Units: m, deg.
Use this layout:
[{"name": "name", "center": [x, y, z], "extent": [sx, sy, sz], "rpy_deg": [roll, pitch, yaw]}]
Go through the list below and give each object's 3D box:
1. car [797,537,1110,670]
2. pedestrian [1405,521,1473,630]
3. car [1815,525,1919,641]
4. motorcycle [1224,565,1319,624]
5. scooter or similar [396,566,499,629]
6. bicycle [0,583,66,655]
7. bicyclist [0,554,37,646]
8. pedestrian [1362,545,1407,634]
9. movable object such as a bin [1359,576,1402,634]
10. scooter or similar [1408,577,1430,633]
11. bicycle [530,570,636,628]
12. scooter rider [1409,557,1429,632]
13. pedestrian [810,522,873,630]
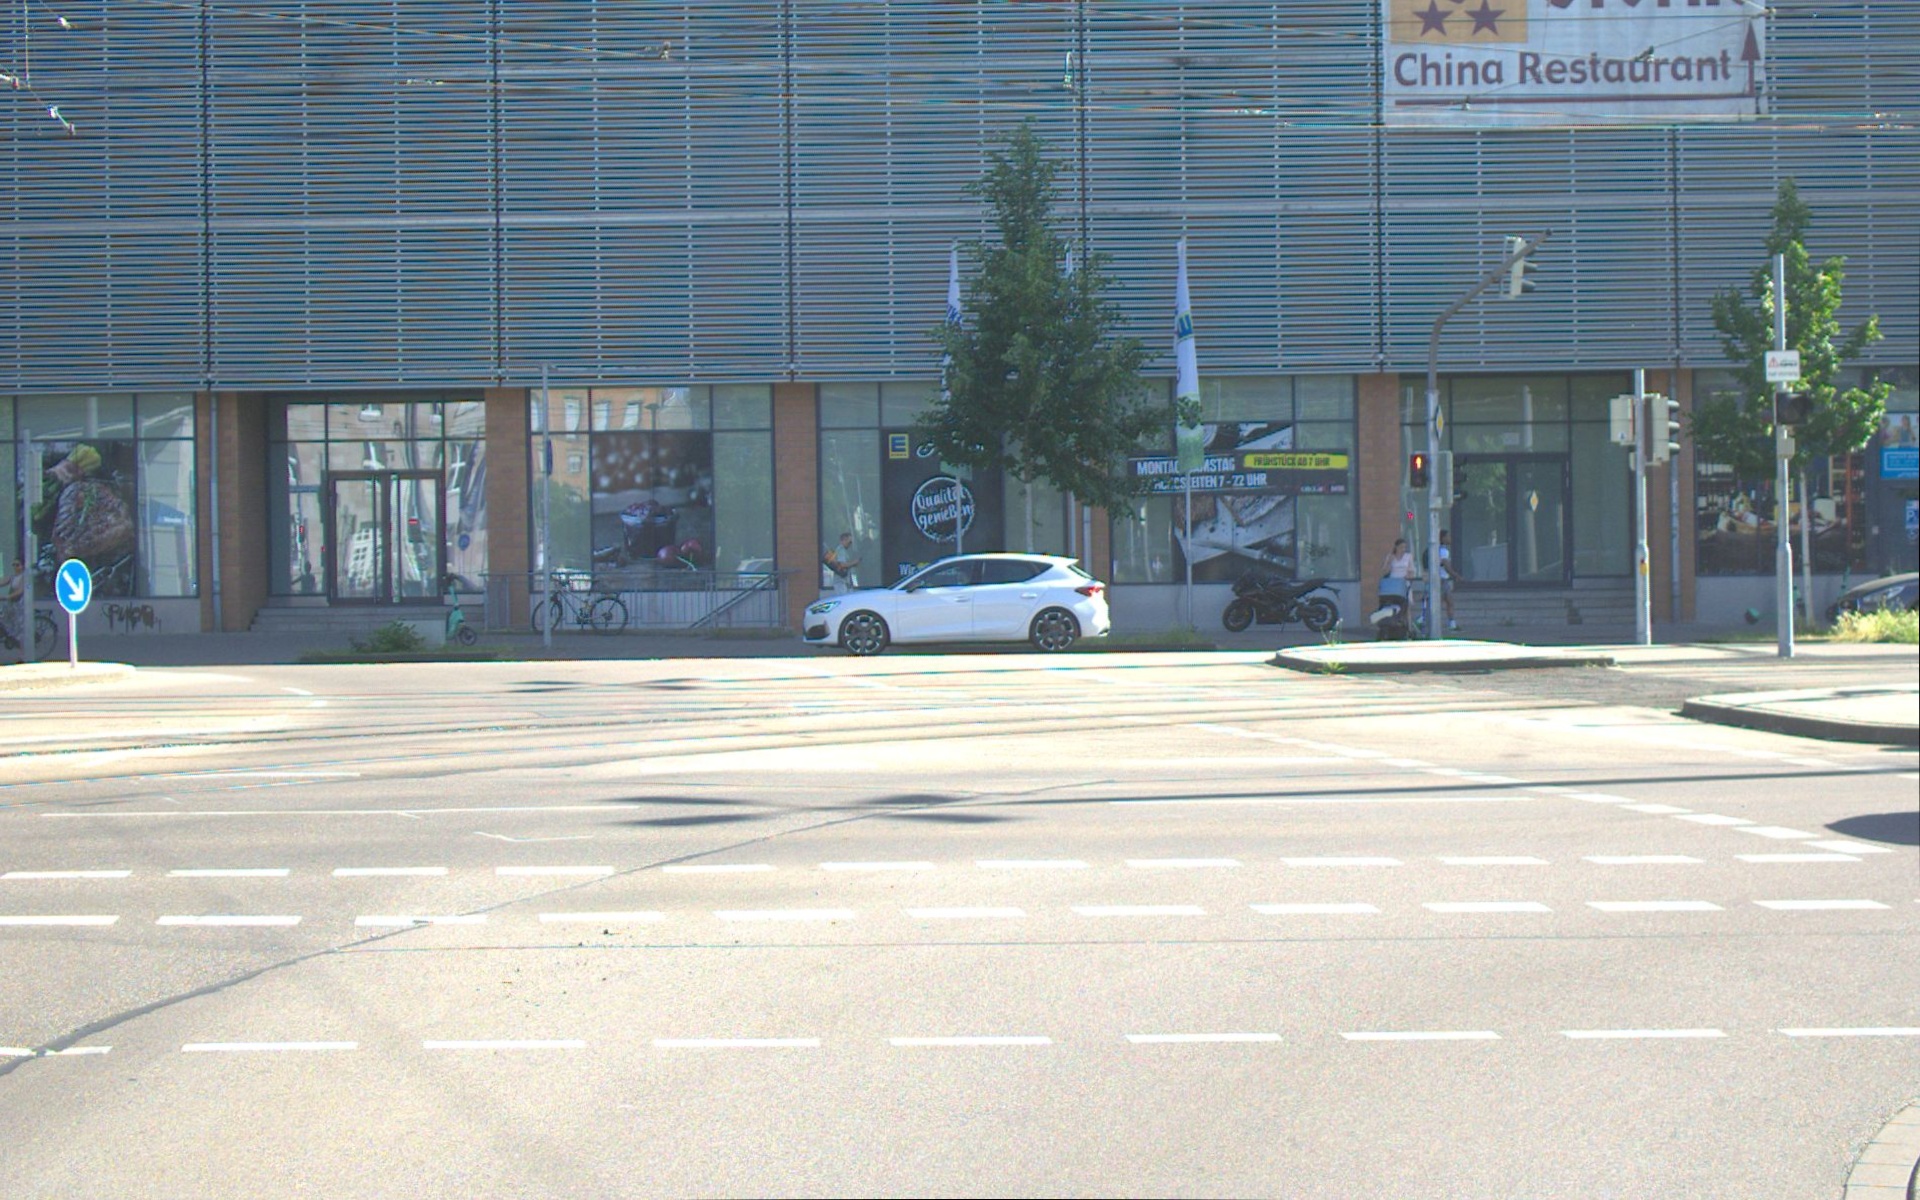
[{"name": "car", "center": [-0.105, 0.046, 49.010], "extent": [4.289, 1.639, 1.841], "rpy_deg": [3, 0, -1]}, {"name": "pedestrian", "center": [8.252, -0.435, 59.277], "extent": [1.012, 1.822, 1.035], "rpy_deg": [-2, 1, 3]}, {"name": "car", "center": [13.755, -0.142, 45.851], "extent": [4.146, 1.464, 1.841], "rpy_deg": [3, 0, -1]}, {"name": "motorcycle", "center": [5.495, -0.102, 60.640], "extent": [1.640, 1.001, 0.446], "rpy_deg": [1, 1, 6]}, {"name": "scooter or similar", "center": [-9.078, -0.048, 60.929], "extent": [1.792, 1.062, 0.613], "rpy_deg": [0, 2, -8]}, {"name": "bicycle", "center": [-15.245, 0.308, 54.864], "extent": [0.568, 1.082, 1.859], "rpy_deg": [1, 3, 43]}, {"name": "bicyclist", "center": [-15.278, -0.001, 54.784], "extent": [0.675, 1.422, 0.847], "rpy_deg": [1, 3, 43]}, {"name": "pedestrian", "center": [6.832, -0.177, 55.273], "extent": [0.655, 1.409, 0.849], "rpy_deg": [1, 0, 10]}, {"name": "movable object such as a bin", "center": [6.713, 0.079, 54.812], "extent": [0.613, 0.901, 0.968], "rpy_deg": [1, 0, 10]}, {"name": "scooter or similar", "center": [7.352, 0.075, 55.096], "extent": [0.295, 0.870, 1.003], "rpy_deg": [1, 0, 10]}, {"name": "bicycle", "center": [-6.649, -0.018, 60.546], "extent": [1.815, 0.986, 0.558], "rpy_deg": [-1, 2, -10]}, {"name": "scooter rider", "center": [7.345, -0.087, 55.034], "extent": [0.288, 1.196, 0.385], "rpy_deg": [1, 0, 10]}, {"name": "pedestrian", "center": [-2.061, -0.410, 59.703], "extent": [0.950, 1.822, 0.845], "rpy_deg": [-2, -3, 5]}]
